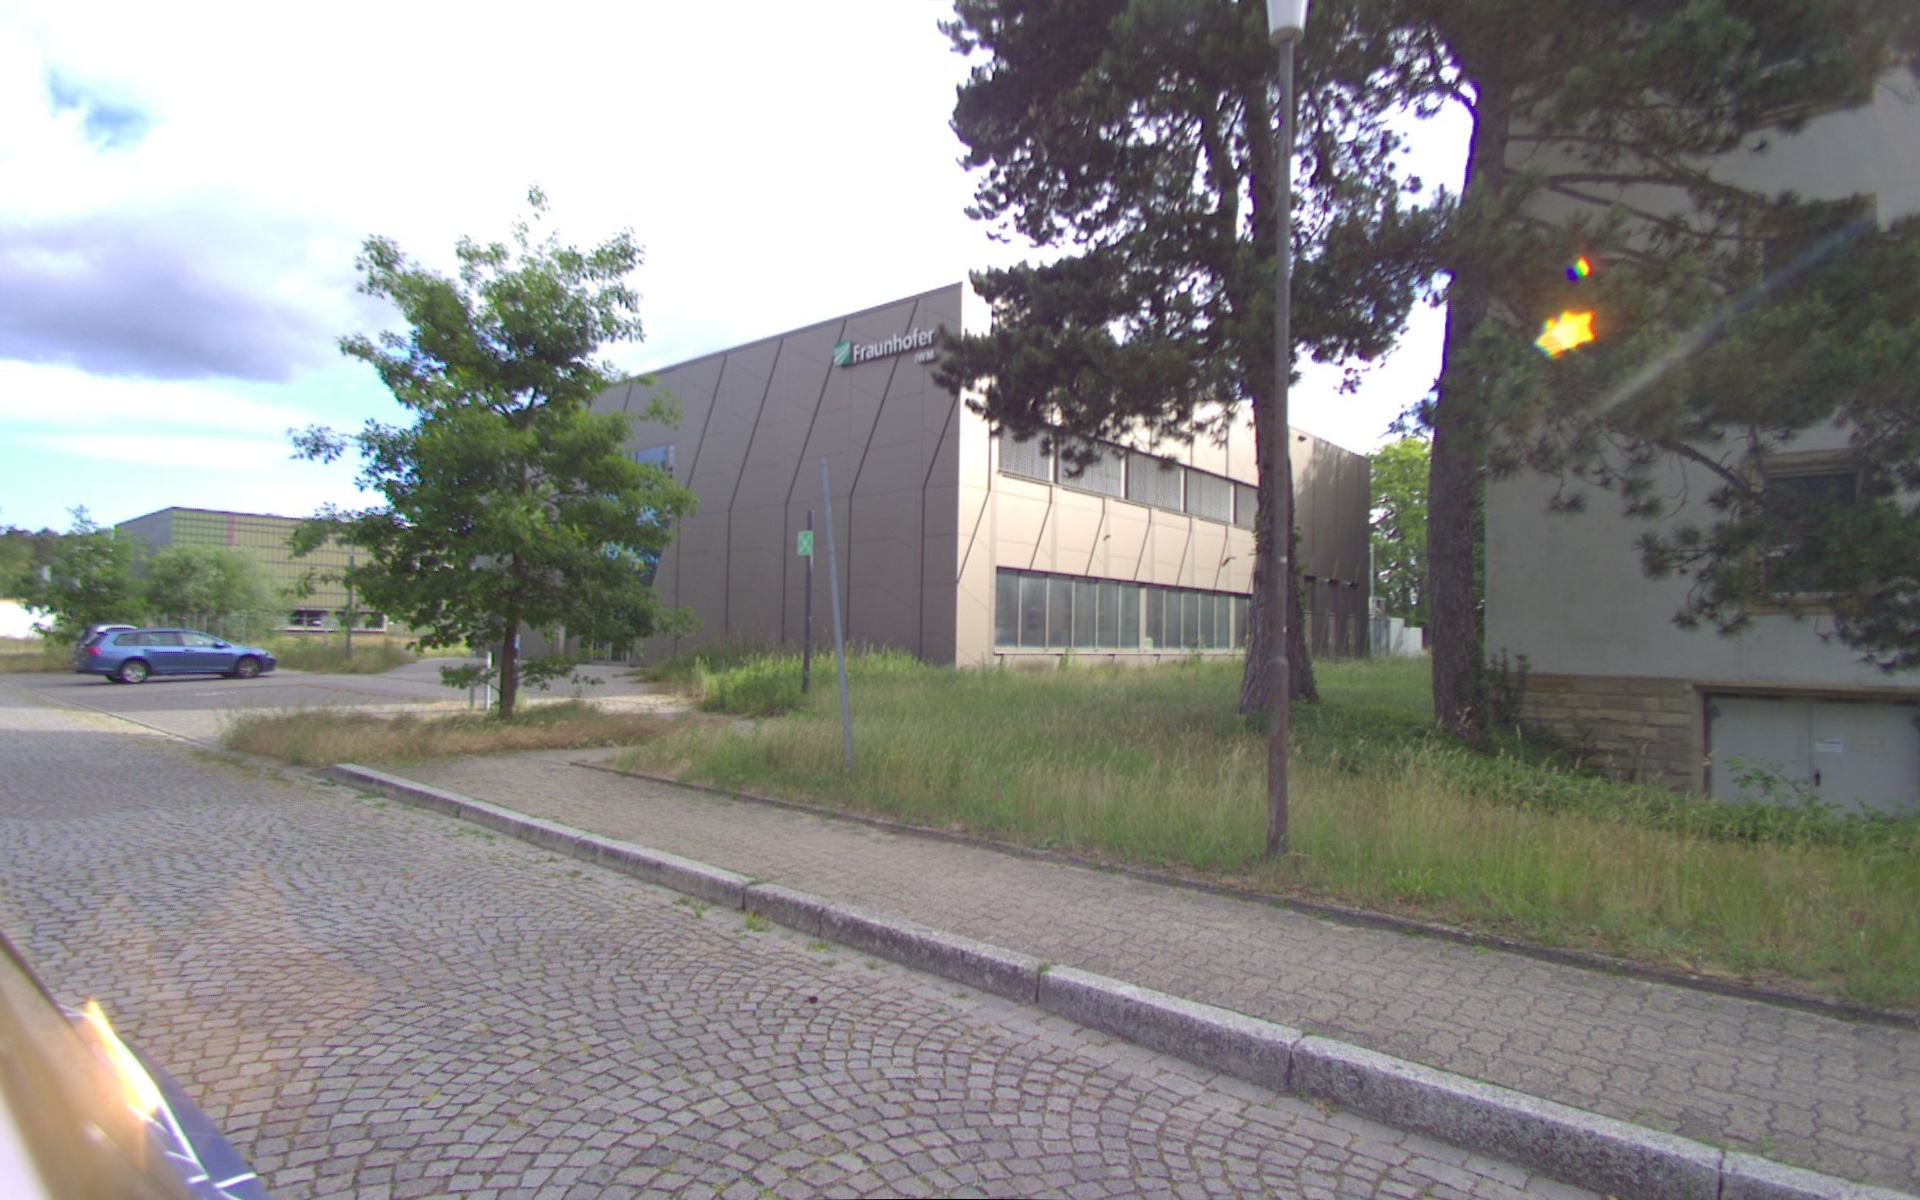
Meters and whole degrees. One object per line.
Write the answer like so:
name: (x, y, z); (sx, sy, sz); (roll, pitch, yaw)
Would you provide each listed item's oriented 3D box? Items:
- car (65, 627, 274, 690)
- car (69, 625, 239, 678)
car: (-21.961, 1.563, 28.266); (1.715, 1.522, 4.350); (-1, -1, 38)
car: (-26.842, 1.665, 33.801); (4.339, 1.558, 1.843); (0, -1, -43)
